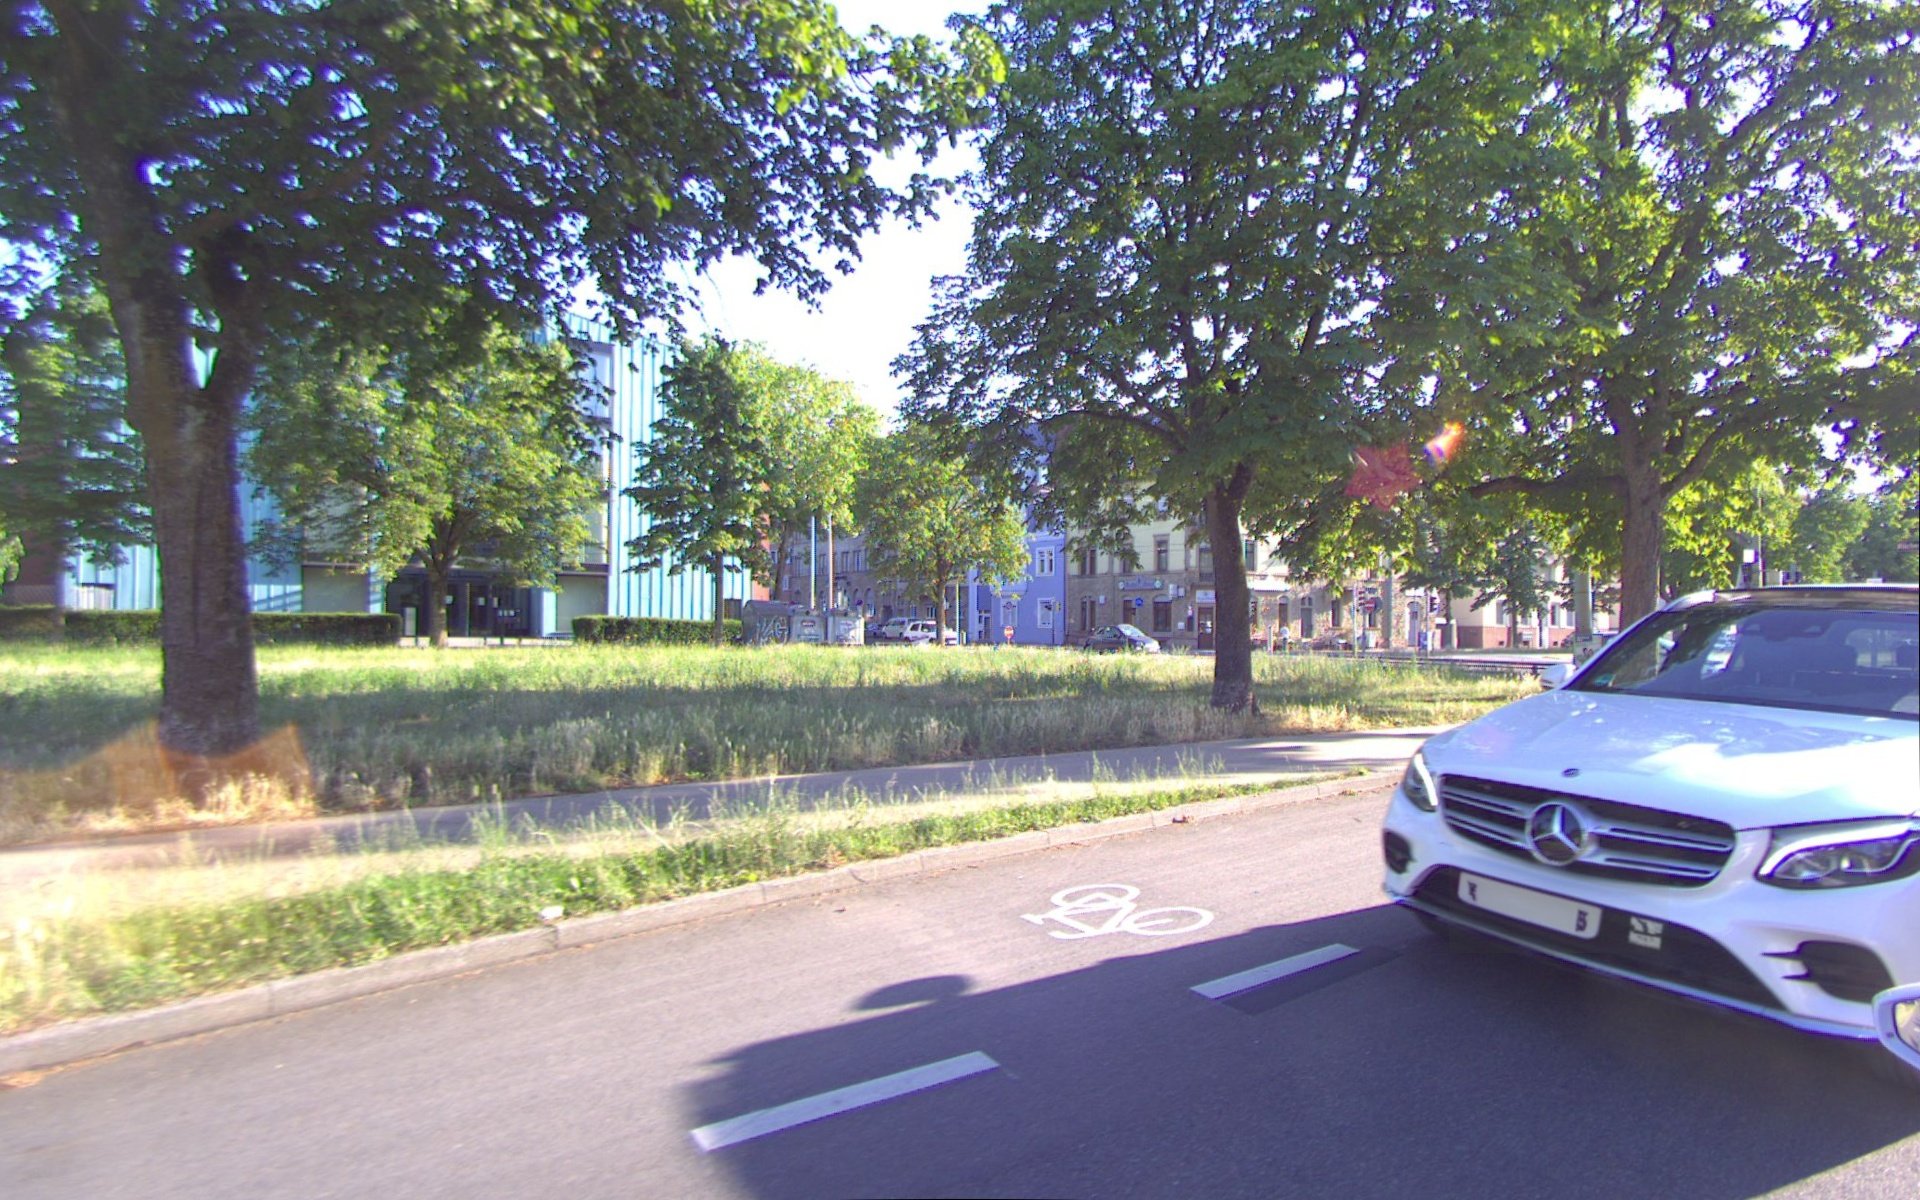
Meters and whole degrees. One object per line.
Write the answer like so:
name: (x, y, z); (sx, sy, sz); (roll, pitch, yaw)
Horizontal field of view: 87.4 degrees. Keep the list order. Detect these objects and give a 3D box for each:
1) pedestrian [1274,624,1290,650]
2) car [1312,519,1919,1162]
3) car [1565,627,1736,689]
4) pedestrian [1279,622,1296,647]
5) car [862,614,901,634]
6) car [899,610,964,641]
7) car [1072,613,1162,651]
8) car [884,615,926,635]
pedestrian: (21.060, 2.439, 65.671); (0.810, 1.664, 0.716); (2, -1, -44)
car: (3.859, 0.677, 4.609); (4.375, 1.699, 1.881); (2, 0, -32)
car: (19.400, 1.573, 28.317); (1.728, 1.508, 3.652); (2, 0, -42)
pedestrian: (21.669, 2.282, 66.526); (0.715, 1.664, 0.811); (1, -1, -23)
car: (-7.196, 2.184, 92.024); (2.074, 1.612, 4.013); (3, -2, -29)
car: (-1.575, 1.377, 54.576); (1.597, 1.572, 3.837); (1, 0, -36)
car: (6.707, 1.338, 43.086); (1.601, 1.518, 3.561); (1, 0, -43)
car: (-4.836, 2.216, 88.080); (2.074, 1.612, 4.013); (3, -2, -29)
